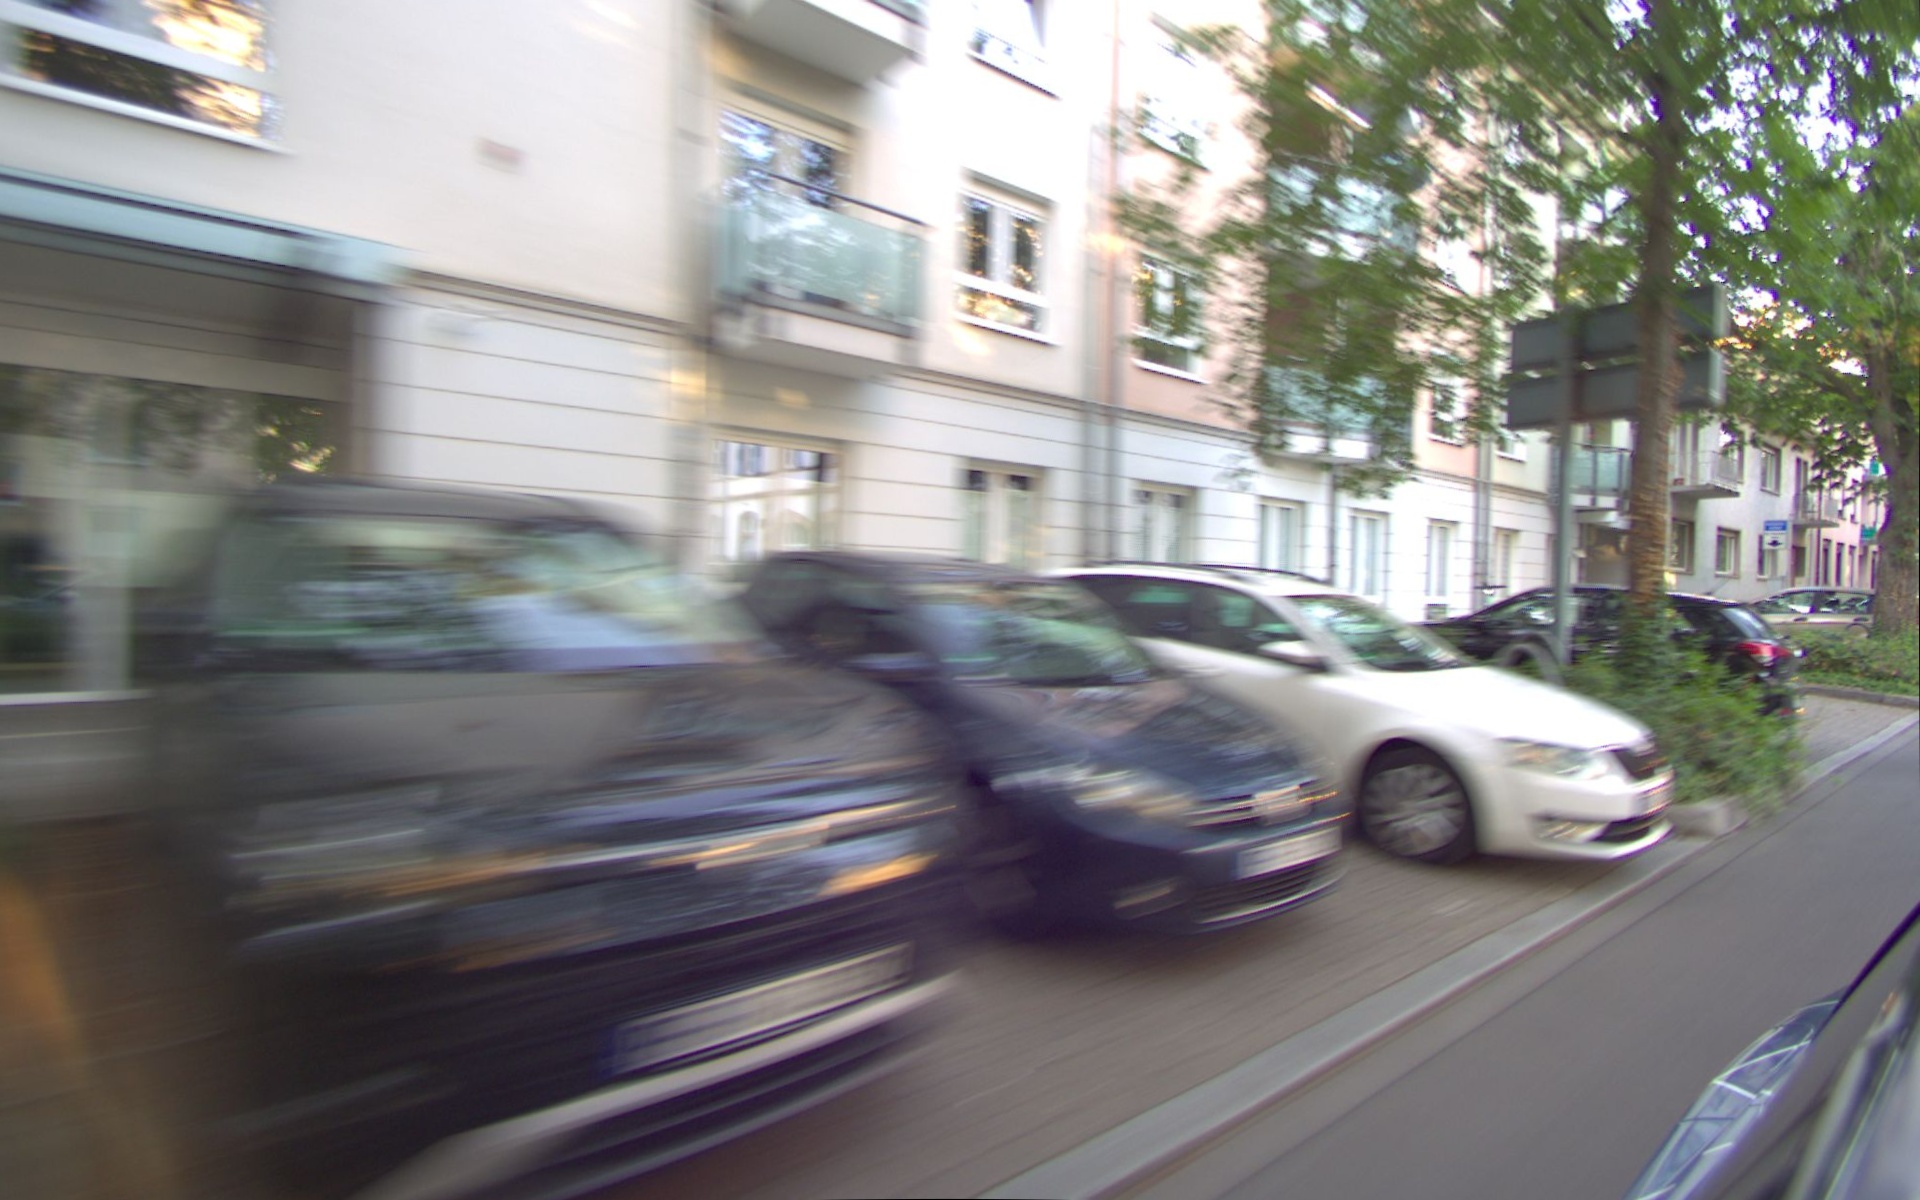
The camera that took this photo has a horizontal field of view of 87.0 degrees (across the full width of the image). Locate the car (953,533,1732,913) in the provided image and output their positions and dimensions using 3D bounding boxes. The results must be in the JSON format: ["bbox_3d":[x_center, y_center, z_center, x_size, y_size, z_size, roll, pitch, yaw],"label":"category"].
[{"bbox_3d":[2.112,0.438,6.820,1.741,1.570,4.584,0,4,-40],"label":"car"}]

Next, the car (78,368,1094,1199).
[{"bbox_3d":[-1.850,0.375,3.639,1.863,1.724,4.391,0,4,-43],"label":"car"}]

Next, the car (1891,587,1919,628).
[{"bbox_3d":[38.155,0.407,37.877,1.665,1.488,4.597,0,3,-38],"label":"car"}]

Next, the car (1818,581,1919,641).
[{"bbox_3d":[26.862,0.370,28.038,1.698,1.487,4.375,1,4,-35],"label":"car"}]

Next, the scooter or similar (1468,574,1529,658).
[{"bbox_3d":[8.386,0.242,15.755,1.231,1.256,0.400,0,1,-41],"label":"scooter or similar"}]

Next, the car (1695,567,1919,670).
[{"bbox_3d":[17.033,0.308,19.811,1.892,1.687,3.872,0,4,-40],"label":"car"}]

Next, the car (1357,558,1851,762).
[{"bbox_3d":[6.598,0.451,10.678,1.882,1.492,3.994,0,5,-44],"label":"car"}]

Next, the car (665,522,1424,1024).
[{"bbox_3d":[0.040,0.446,5.358,1.695,1.543,4.000,0,4,-38],"label":"car"}]
